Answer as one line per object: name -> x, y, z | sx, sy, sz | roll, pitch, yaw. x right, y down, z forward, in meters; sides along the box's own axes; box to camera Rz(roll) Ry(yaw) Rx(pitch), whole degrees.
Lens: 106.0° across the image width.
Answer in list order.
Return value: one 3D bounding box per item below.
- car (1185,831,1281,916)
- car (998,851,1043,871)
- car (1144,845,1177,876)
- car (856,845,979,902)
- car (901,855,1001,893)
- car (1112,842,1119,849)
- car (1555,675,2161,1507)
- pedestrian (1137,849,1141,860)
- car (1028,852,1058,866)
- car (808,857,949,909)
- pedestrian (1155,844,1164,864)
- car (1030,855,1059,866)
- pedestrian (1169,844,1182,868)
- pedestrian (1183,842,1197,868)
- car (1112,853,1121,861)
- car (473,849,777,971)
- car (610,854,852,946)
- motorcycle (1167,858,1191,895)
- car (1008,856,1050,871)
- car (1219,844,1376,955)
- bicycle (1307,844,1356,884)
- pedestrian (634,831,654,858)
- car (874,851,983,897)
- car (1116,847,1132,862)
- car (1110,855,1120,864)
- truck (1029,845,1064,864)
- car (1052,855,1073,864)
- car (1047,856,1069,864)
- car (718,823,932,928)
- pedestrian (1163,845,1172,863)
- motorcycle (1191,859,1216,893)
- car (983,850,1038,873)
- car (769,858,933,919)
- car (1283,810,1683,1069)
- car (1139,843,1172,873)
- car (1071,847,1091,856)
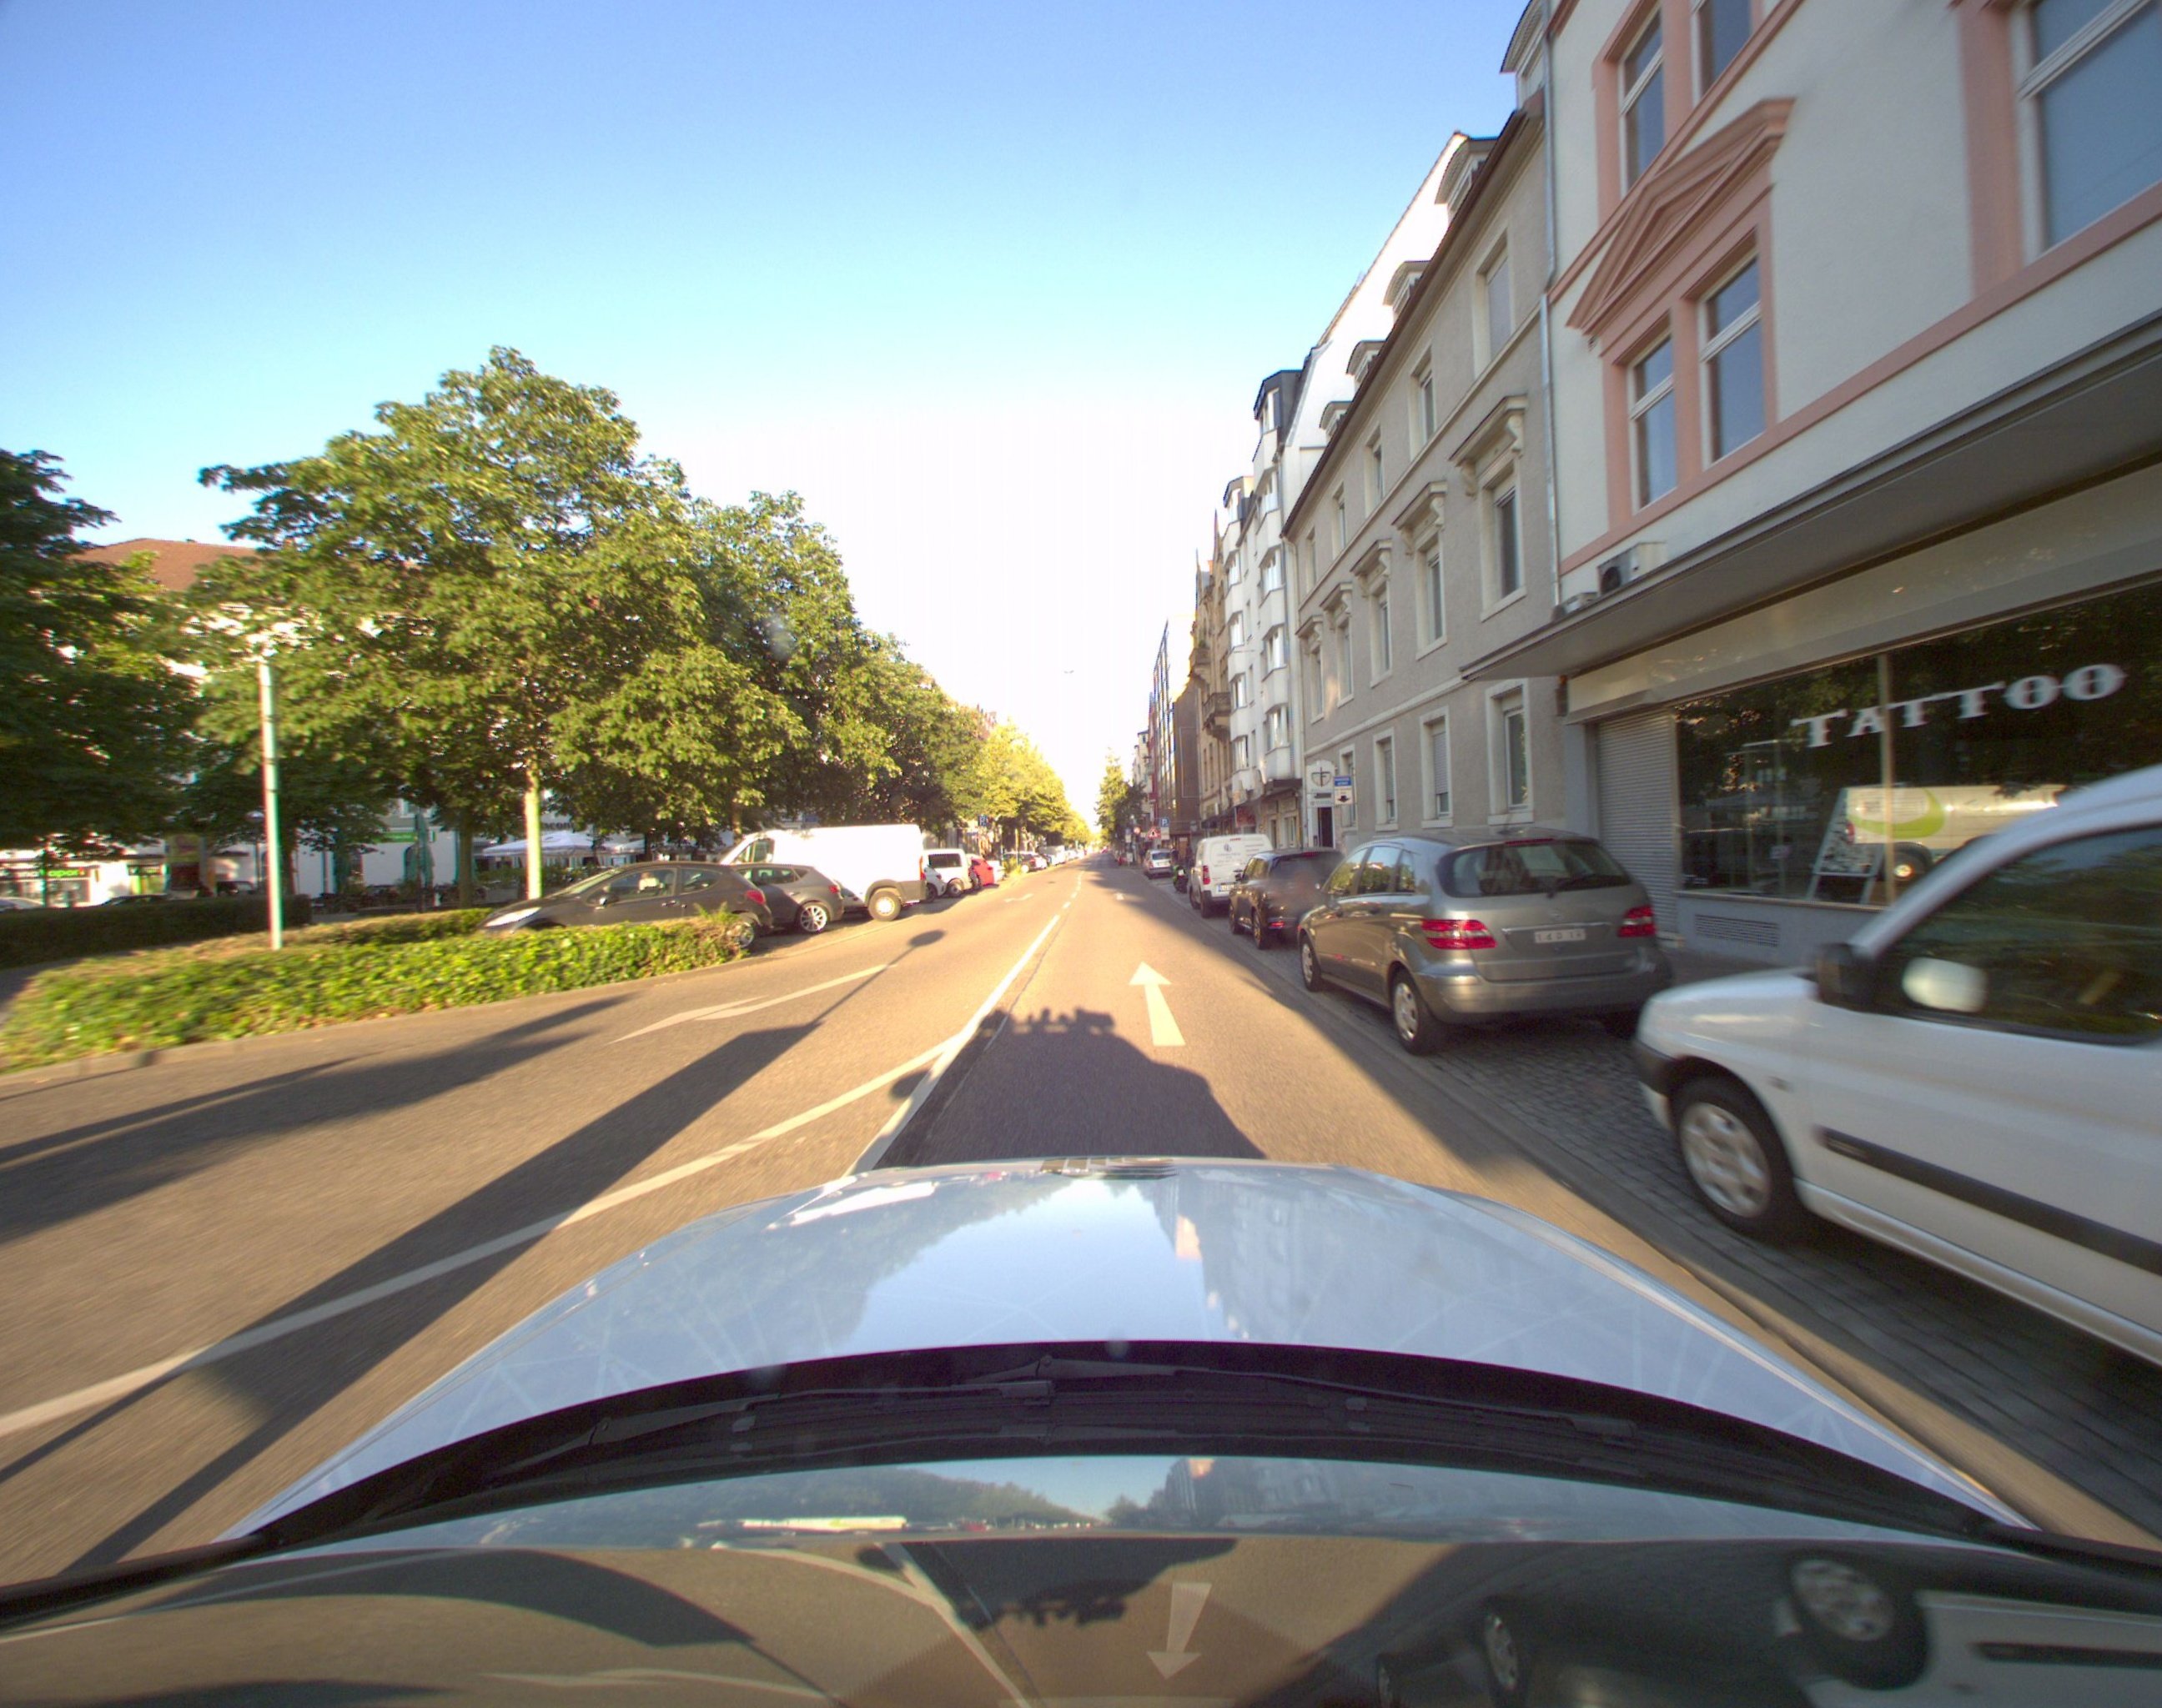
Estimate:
car -> 3.584, 0.397, 19.877 | 1.703, 1.835, 4.309 | -1, 1, 2
car -> -5.643, 0.632, 76.530 | 3.976, 1.708, 1.833 | -1, 1, 0
car -> 4.460, 0.340, 46.152 | 1.673, 1.561, 4.005 | -4, 1, 4
car -> -5.976, 0.657, 29.898 | 4.017, 1.878, 1.851 | -2, 1, -35
car -> -5.856, 0.861, 36.632 | 4.010, 1.485, 1.982 | -2, 0, -28
car -> 8.286, -2.138, 195.576 | 1.305, 1.600, 2.659 | -1, 0, -1
car -> 3.207, 0.484, 1.974 | 1.786, 1.791, 4.093 | -2, 0, 2
pedestrian -> 8.587, 0.069, 121.279 | 0.532, 1.622, 0.534 | -1, 0, 2
car -> -4.831, 0.636, 104.401 | 3.726, 1.596, 2.000 | -1, 0, 1
car -> -6.502, 0.865, 26.343 | 4.018, 1.492, 1.829 | -1, 0, -37
pedestrian -> 7.649, -0.028, 79.629 | 0.712, 1.865, 0.679 | -3, 0, -2
car -> -4.897, 0.878, 109.555 | 3.726, 1.449, 2.000 | -1, 0, 1
pedestrian -> 6.549, 0.158, 56.492 | 0.752, 1.640, 1.259 | -1, 1, 1
pedestrian -> 7.511, 0.072, 56.217 | 0.752, 1.767, 1.222 | -1, 1, 1
car -> 5.420, 0.466, 125.053 | 1.203, 1.300, 2.659 | -1, 0, -1
car -> -6.992, 0.753, 12.728 | 3.899, 1.582, 1.784 | -1, 0, -34
car -> -6.808, 0.799, 16.030 | 4.019, 1.486, 1.812 | -2, 1, -38
motorcycle -> 3.512, 0.780, 29.286 | 0.586, 1.200, 2.211 | -1, 1, 1
car -> -5.317, 0.991, 84.162 | 4.160, 1.507, 2.000 | -1, 0, 0
car -> 3.430, 0.628, 13.596 | 1.661, 1.544, 3.884 | -1, 1, 1
bicycle -> 6.750, 0.274, 22.042 | 0.455, 1.012, 1.705 | -1, -1, -13
pedestrian -> -19.832, -0.433, 36.986 | 0.530, 1.216, 0.528 | -3, 1, 9
car -> -6.162, 0.768, 33.078 | 4.016, 1.696, 1.731 | -1, 0, -35
car -> 4.898, 0.065, 93.032 | 1.572, 1.542, 3.395 | -4, 0, -1
car -> 4.931, 0.805, 118.271 | 1.203, 1.300, 2.659 | -1, 0, -1
truck -> -4.888, 0.102, 115.827 | 4.924, 2.615, 2.000 | -1, 0, 0
car -> -3.408, 1.029, 148.924 | 3.726, 1.493, 2.000 | -1, 0, 1
car -> -4.125, 1.043, 144.043 | 3.726, 1.449, 2.000 | -1, 0, 1
car -> -6.135, 0.435, 19.538 | 4.622, 2.251, 2.185 | -1, 0, -26
pedestrian -> 8.459, 0.004, 79.598 | 0.763, 1.689, 0.786 | -3, 1, -1
motorcycle -> 4.311, 0.758, 28.835 | 0.586, 1.123, 2.211 | -2, 1, 1
car -> -5.996, 0.650, 69.405 | 4.433, 1.835, 2.034 | -1, 1, 0
car -> -6.439, 0.890, 23.006 | 4.021, 1.468, 1.861 | -2, 1, -41
car -> 3.143, 0.542, 7.394 | 1.651, 1.665, 4.109 | -1, 1, 1
car -> 4.645, 0.207, 50.976 | 1.690, 1.769, 4.001 | -2, 1, 1
car -> 0.013, -0.495, 155.716 | 3.726, 1.708, 2.000 | -1, 1, 0
